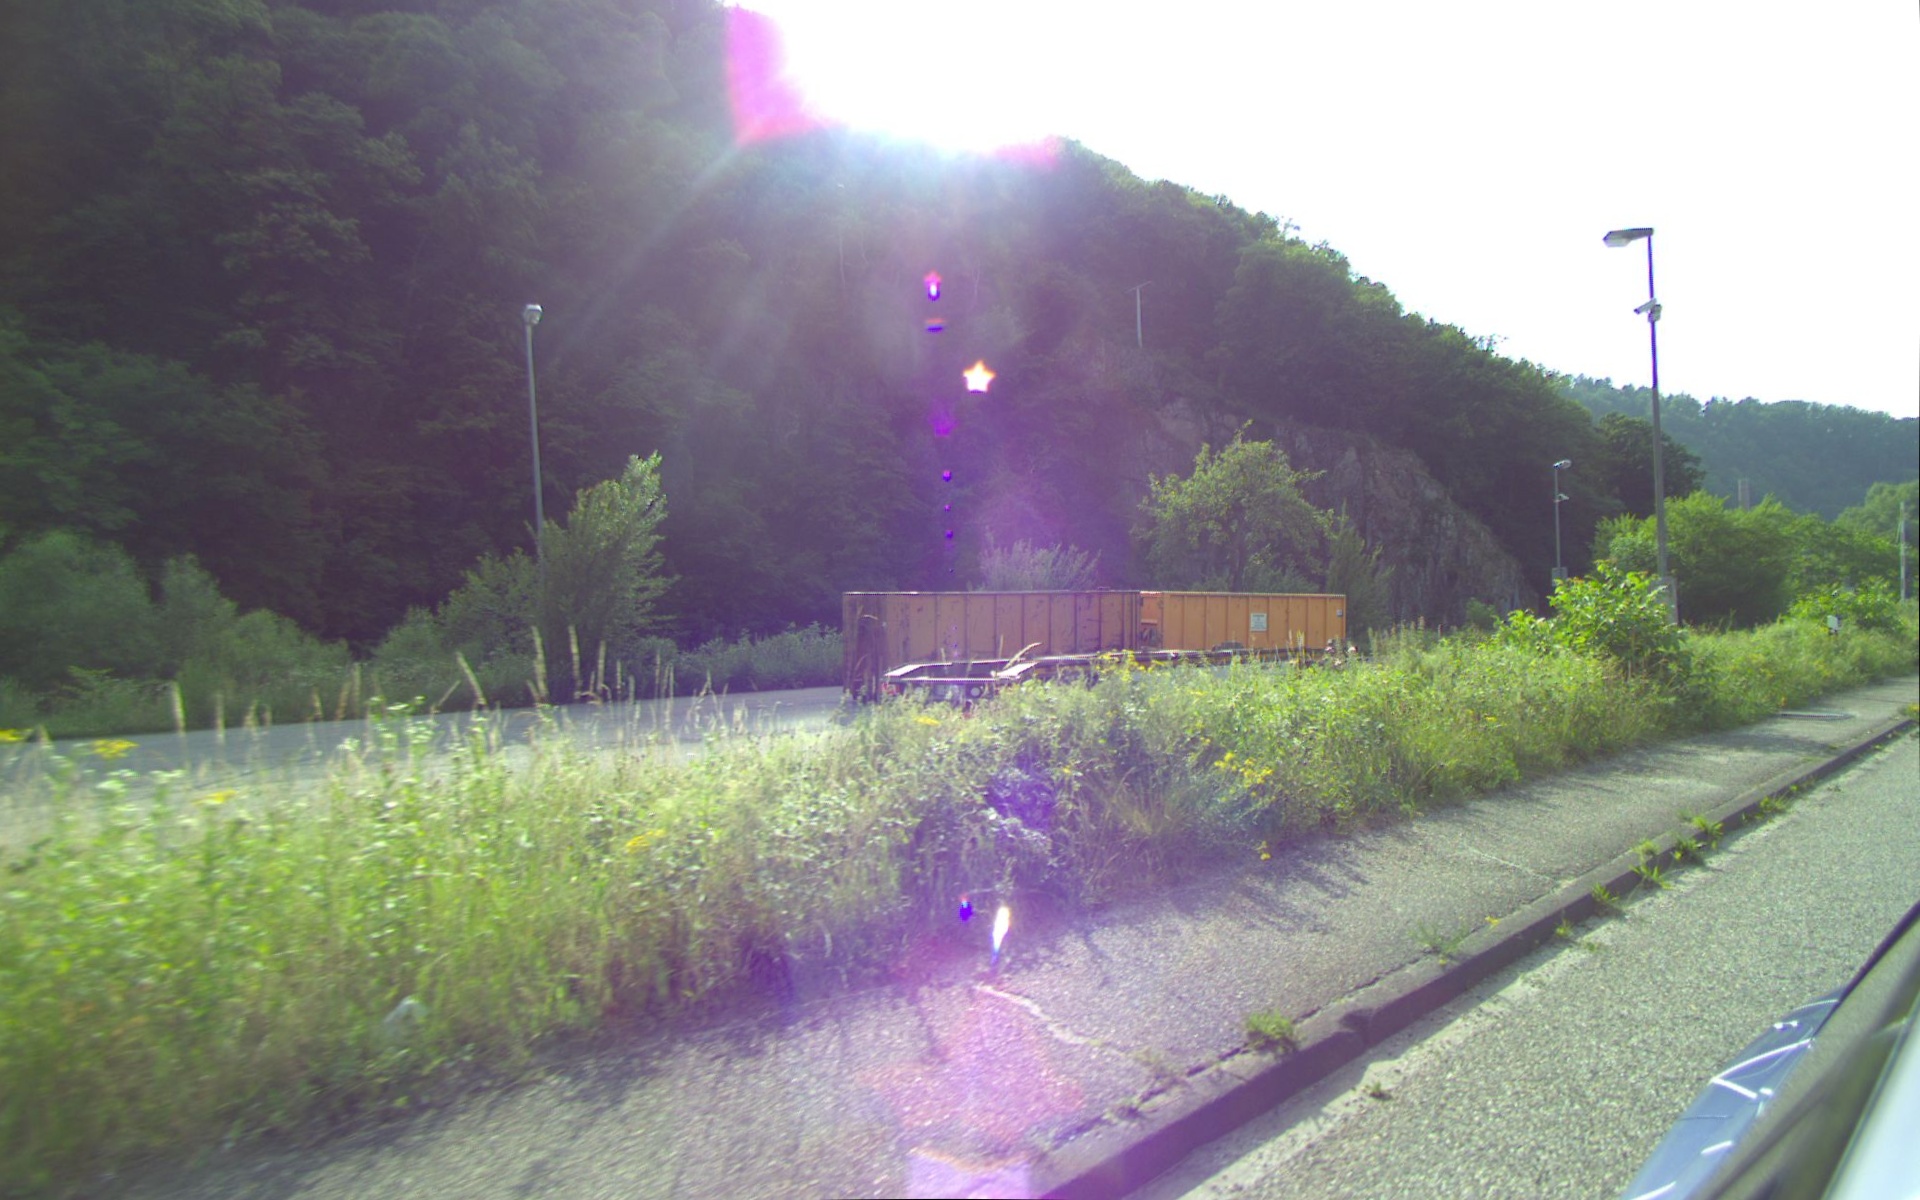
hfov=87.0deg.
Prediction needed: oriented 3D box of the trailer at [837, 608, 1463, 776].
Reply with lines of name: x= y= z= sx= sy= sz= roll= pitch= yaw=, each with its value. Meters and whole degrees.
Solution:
trailer: x=3.189 y=0.960 z=13.589 sx=9.714 sy=1.494 sz=2.795 roll=0 pitch=-4 yaw=-41
